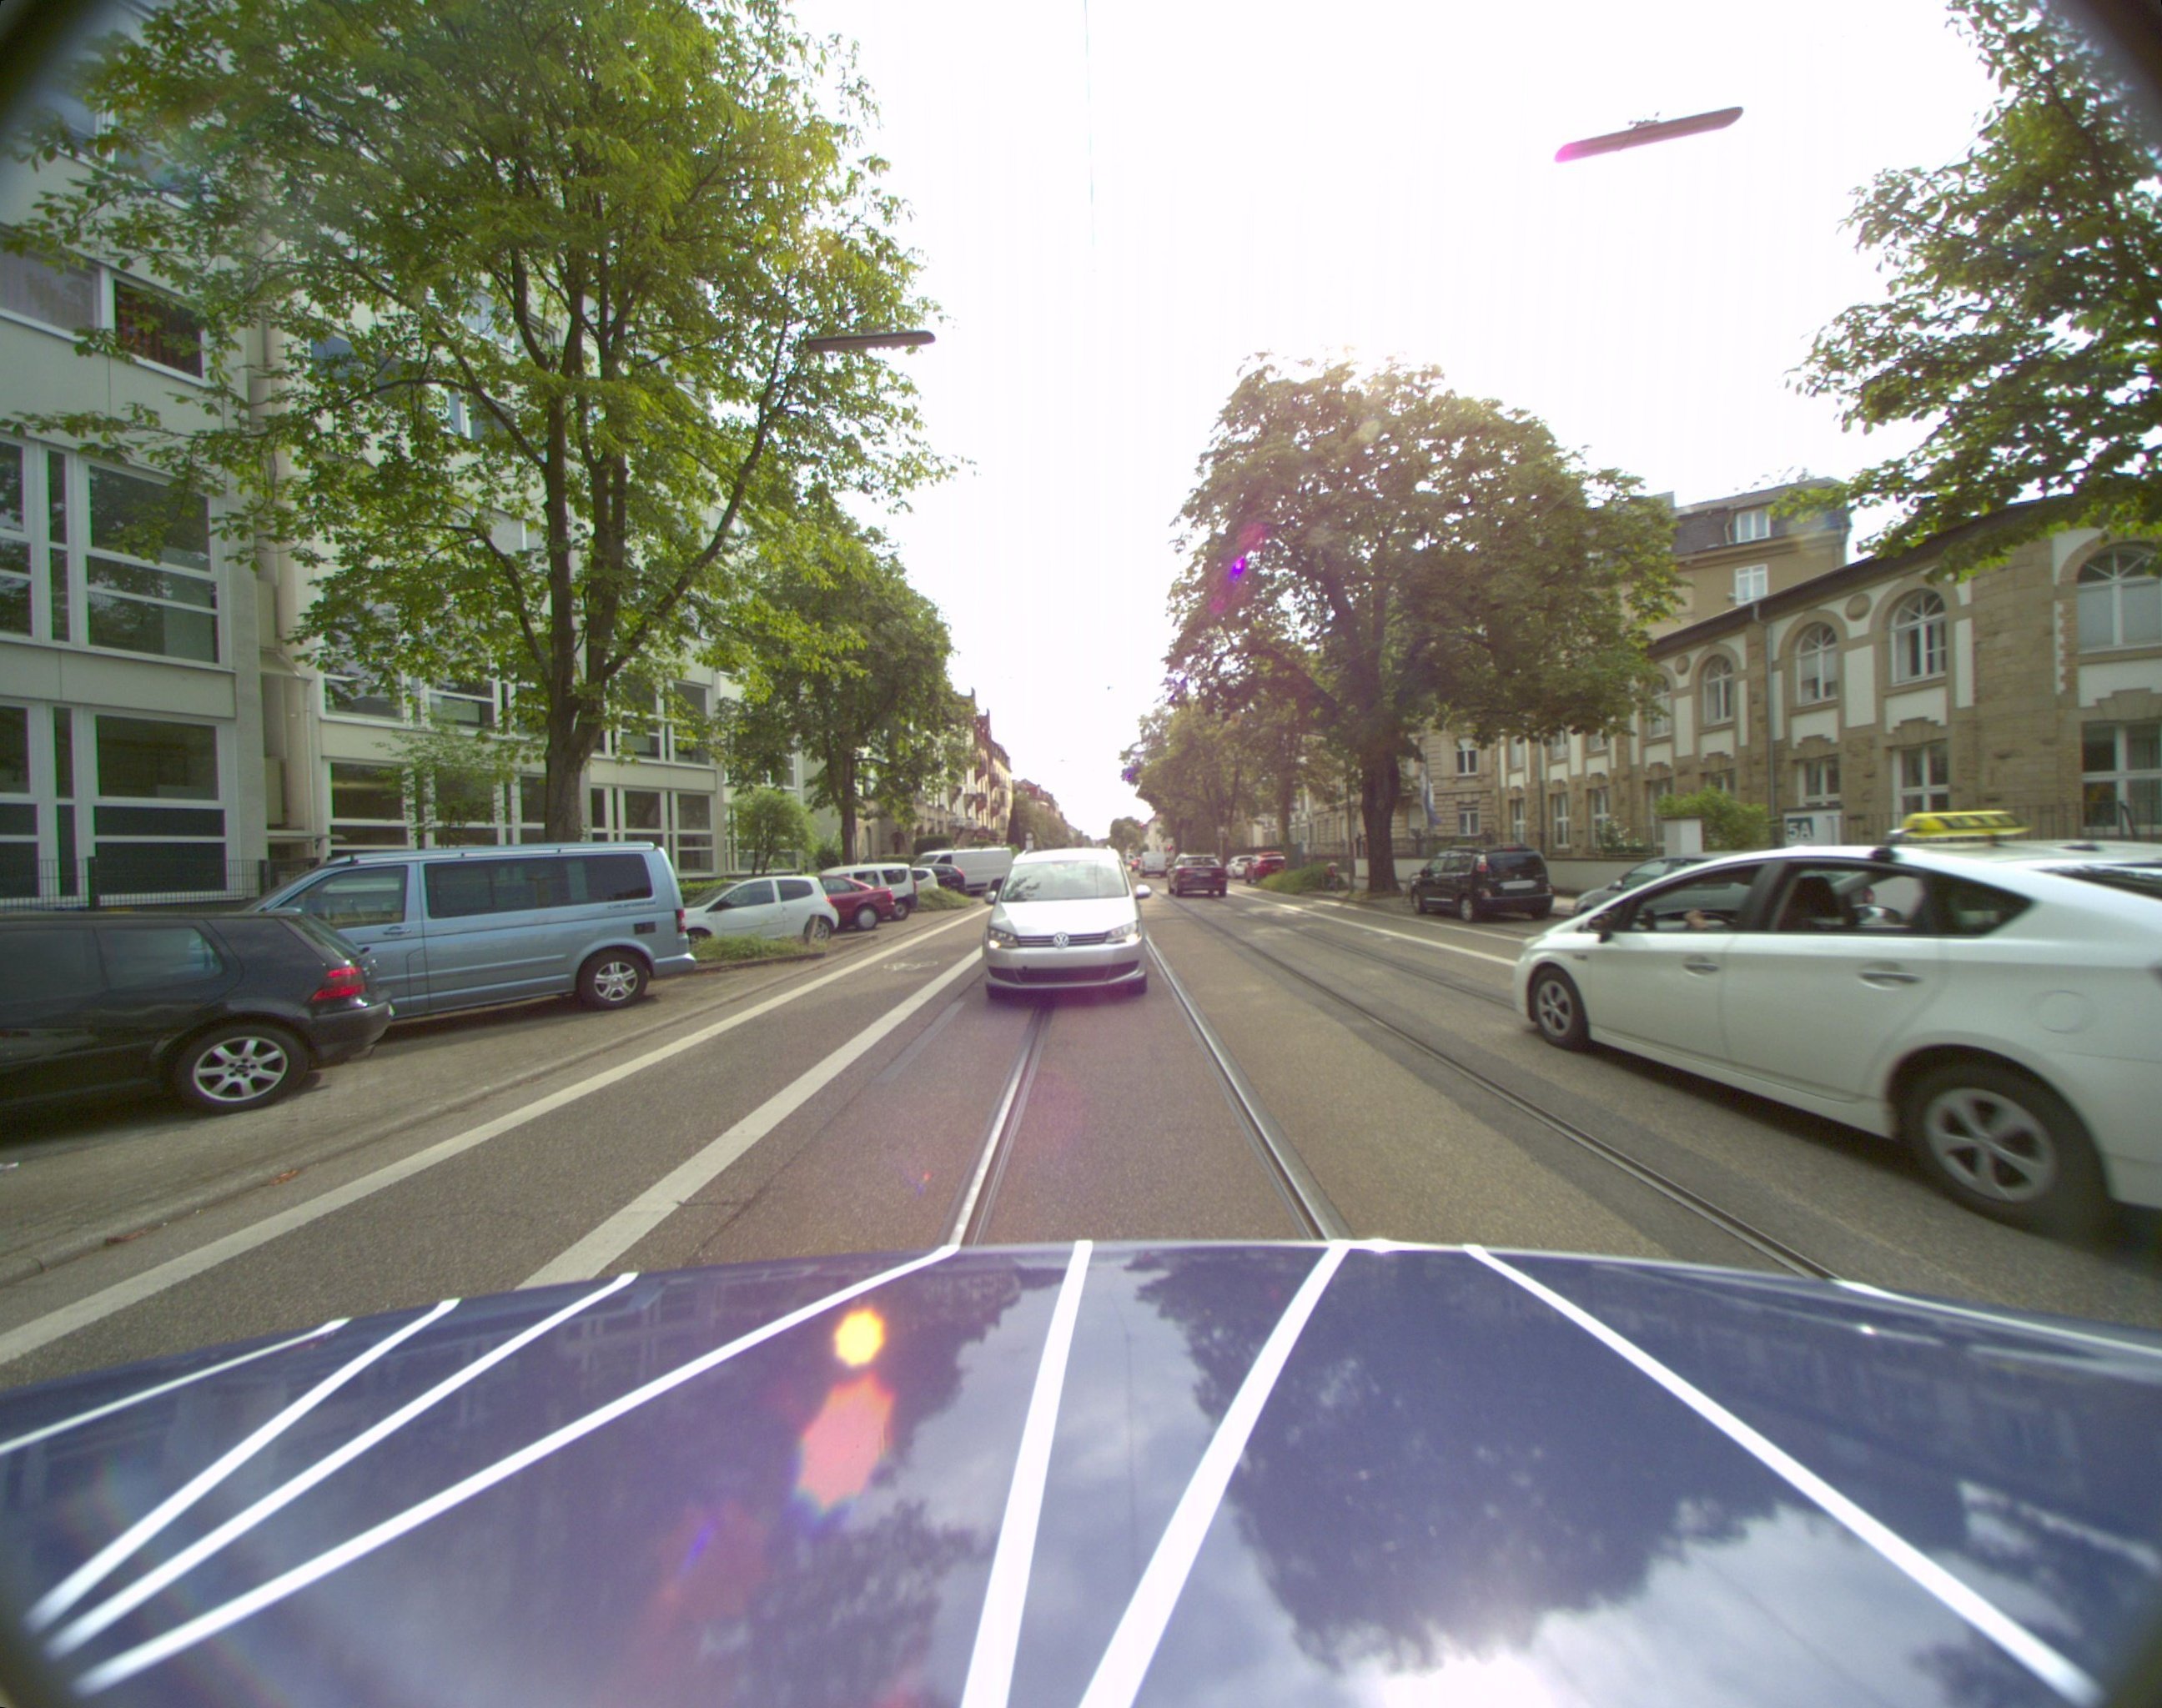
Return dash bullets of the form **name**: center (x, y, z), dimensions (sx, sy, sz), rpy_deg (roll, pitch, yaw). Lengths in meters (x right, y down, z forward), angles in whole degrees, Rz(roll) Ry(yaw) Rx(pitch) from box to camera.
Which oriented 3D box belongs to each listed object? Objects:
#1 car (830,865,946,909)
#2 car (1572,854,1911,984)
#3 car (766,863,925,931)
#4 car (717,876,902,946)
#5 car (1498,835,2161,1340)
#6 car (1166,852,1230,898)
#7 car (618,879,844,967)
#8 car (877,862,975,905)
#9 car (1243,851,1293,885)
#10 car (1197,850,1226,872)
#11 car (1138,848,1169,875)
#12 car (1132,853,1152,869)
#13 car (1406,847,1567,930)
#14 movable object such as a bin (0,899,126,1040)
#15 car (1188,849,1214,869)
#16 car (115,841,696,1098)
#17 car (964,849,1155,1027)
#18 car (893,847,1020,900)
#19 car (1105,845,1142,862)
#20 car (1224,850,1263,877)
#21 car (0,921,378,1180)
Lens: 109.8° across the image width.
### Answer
- **car**: center (-6.978, 1.154, 27.676), dimensions (3.652, 1.322, 1.763), rpy_deg (-3, 1, -44)
- **car**: center (8.831, 0.758, 10.620), dimensions (1.632, 1.456, 3.574), rpy_deg (-2, 0, 1)
- **car**: center (-6.549, 1.124, 21.308), dimensions (3.777, 1.609, 1.809), rpy_deg (-2, 1, -40)
- **car**: center (-6.512, 1.294, 18.390), dimensions (3.777, 1.331, 1.809), rpy_deg (-2, 1, -40)
- **car**: center (4.310, 0.731, 4.091), dimensions (1.736, 1.603, 4.334), rpy_deg (-1, 0, 0)
- **car**: center (4.460, 0.753, 29.552), dimensions (1.852, 1.603, 4.334), rpy_deg (-2, 0, 1)
- **car**: center (-6.856, 1.254, 15.091), dimensions (3.652, 1.322, 1.763), rpy_deg (-3, 1, -44)
- **car**: center (-6.484, 1.185, 31.809), dimensions (3.649, 1.580, 1.764), rpy_deg (-2, 1, -25)
- **car**: center (9.750, 0.706, 39.942), dimensions (1.659, 1.624, 3.906), rpy_deg (-2, 0, 1)
- **car**: center (10.138, 0.536, 59.242), dimensions (1.659, 1.624, 3.906), rpy_deg (-2, 0, 1)
- **car**: center (5.253, 0.541, 55.241), dimensions (1.799, 1.813, 4.678), rpy_deg (-2, 0, 1)
- **car**: center (6.371, 0.703, 79.591), dimensions (1.786, 1.506, 4.144), rpy_deg (-2, 0, 1)
- **car**: center (8.978, 0.700, 17.208), dimensions (1.659, 1.624, 3.725), rpy_deg (-2, 0, 1)
- **movable object such as a bin**: center (-12.238, 1.289, 8.487), dimensions (1.334, 1.450, 1.400), rpy_deg (-2, 0, 5)
- **car**: center (10.448, 0.443, 66.553), dimensions (1.659, 1.624, 3.906), rpy_deg (-2, 0, 1)
- **car**: center (-6.993, 0.944, 8.452), dimensions (4.354, 2.052, 1.994), rpy_deg (-2, 0, -45)
- **car**: center (-0.180, 0.832, 9.804), dimensions (1.816, 1.691, 4.617), rpy_deg (-2, 0, 1)
- **car**: center (-5.726, 0.839, 35.488), dimensions (5.449, 2.163, 2.142), rpy_deg (-2, 1, -40)
- **car**: center (6.856, -0.105, 124.083), dimensions (5.929, 2.585, 2.000), rpy_deg (-2, 0, 2)
- **car**: center (10.362, 0.601, 48.701), dimensions (1.659, 1.592, 3.906), rpy_deg (-2, 0, 1)
- **car**: center (-7.410, 1.328, 5.006), dimensions (3.980, 1.379, 1.810), rpy_deg (-3, -1, -44)
